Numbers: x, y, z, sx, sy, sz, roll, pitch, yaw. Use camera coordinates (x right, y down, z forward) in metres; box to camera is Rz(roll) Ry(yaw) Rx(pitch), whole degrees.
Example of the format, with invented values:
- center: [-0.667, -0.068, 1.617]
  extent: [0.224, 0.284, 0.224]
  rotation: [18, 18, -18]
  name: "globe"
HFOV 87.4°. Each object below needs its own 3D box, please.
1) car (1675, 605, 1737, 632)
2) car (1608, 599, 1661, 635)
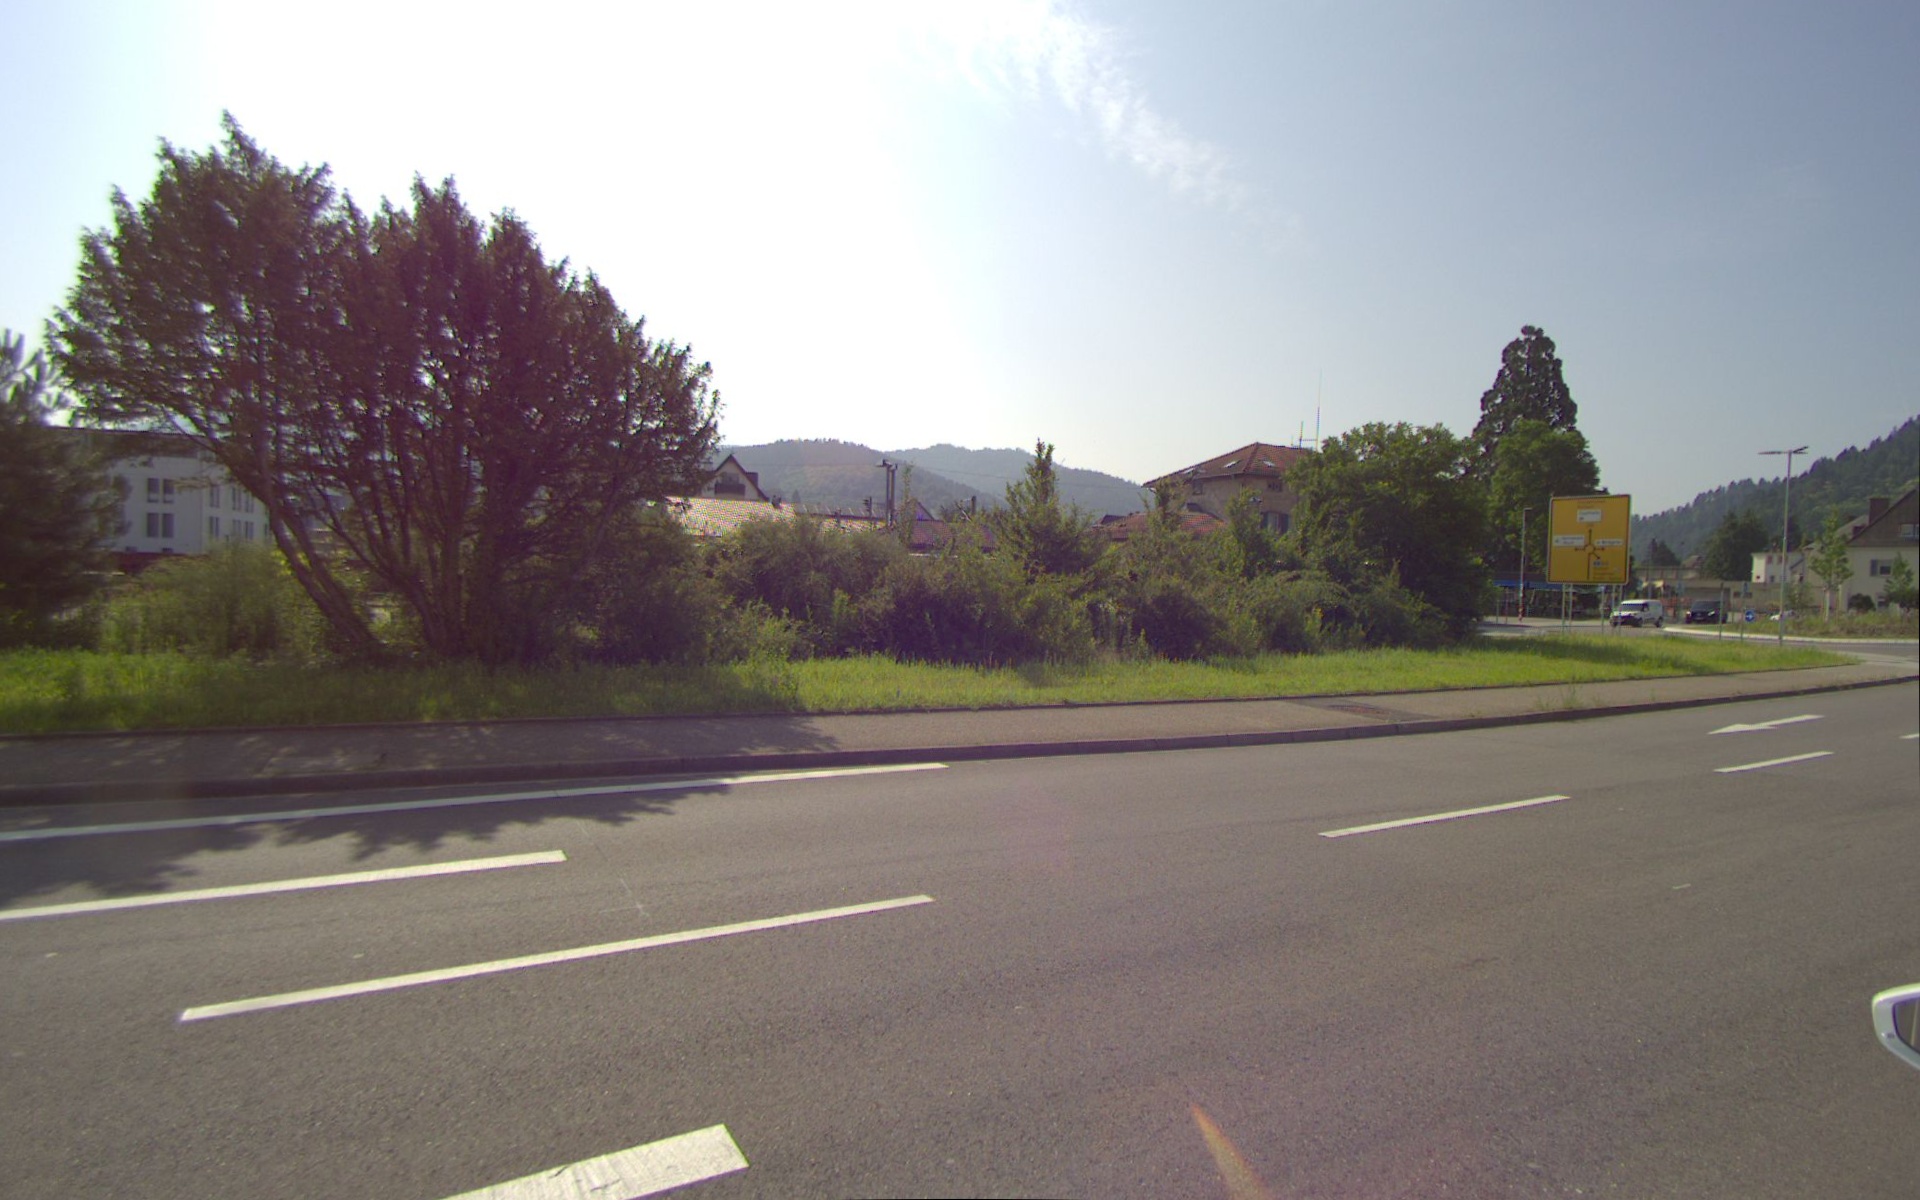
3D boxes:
- center: [57.713, 1.452, 77.710]
  extent: [4.817, 1.972, 1.833]
  rotation: [2, 0, -26]
  name: "car"
- center: [45.968, 1.135, 68.431]
  extent: [4.565, 2.106, 1.791]
  rotation: [-3, 4, -40]
  name: "car"
